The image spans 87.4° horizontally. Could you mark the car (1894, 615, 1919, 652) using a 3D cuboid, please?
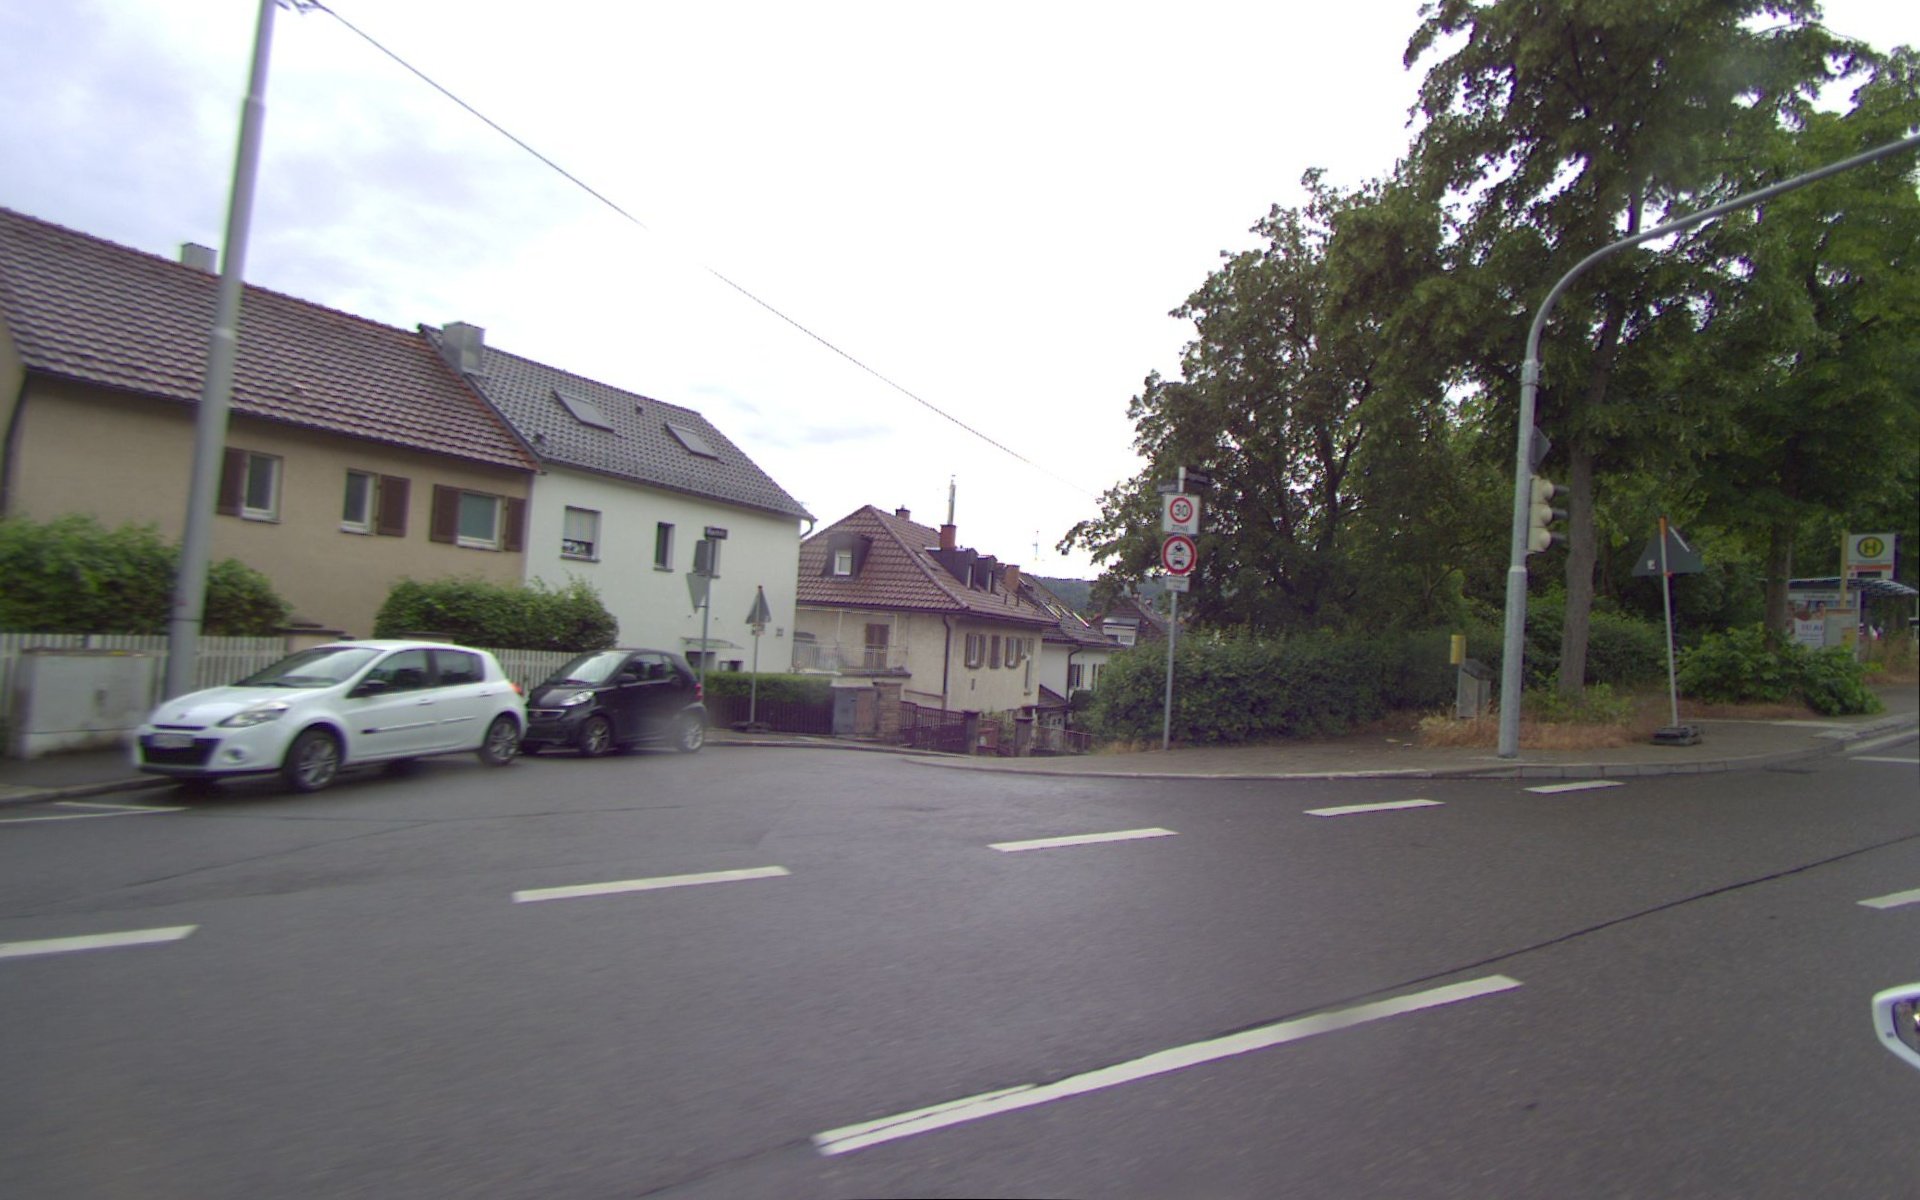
[{"bbox_3d":[42.035,1.441,43.671,1.652,1.572,3.888,-1,-1,36],"label":"car"}]

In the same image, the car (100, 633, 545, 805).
[{"bbox_3d":[-6.670,1.184,11.110,1.655,1.528,4.014,-1,-3,17],"label":"car"}]

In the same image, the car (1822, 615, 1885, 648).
[{"bbox_3d":[49.534,1.726,55.758,1.966,1.750,3.989,-1,-2,33],"label":"car"}]

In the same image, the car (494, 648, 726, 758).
[{"bbox_3d":[-5.098,1.503,14.929,1.538,1.448,2.914,-2,-6,31],"label":"car"}]

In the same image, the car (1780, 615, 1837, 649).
[{"bbox_3d":[52.136,1.936,61.819,1.964,2.040,3.992,-1,-1,30],"label":"car"}]
